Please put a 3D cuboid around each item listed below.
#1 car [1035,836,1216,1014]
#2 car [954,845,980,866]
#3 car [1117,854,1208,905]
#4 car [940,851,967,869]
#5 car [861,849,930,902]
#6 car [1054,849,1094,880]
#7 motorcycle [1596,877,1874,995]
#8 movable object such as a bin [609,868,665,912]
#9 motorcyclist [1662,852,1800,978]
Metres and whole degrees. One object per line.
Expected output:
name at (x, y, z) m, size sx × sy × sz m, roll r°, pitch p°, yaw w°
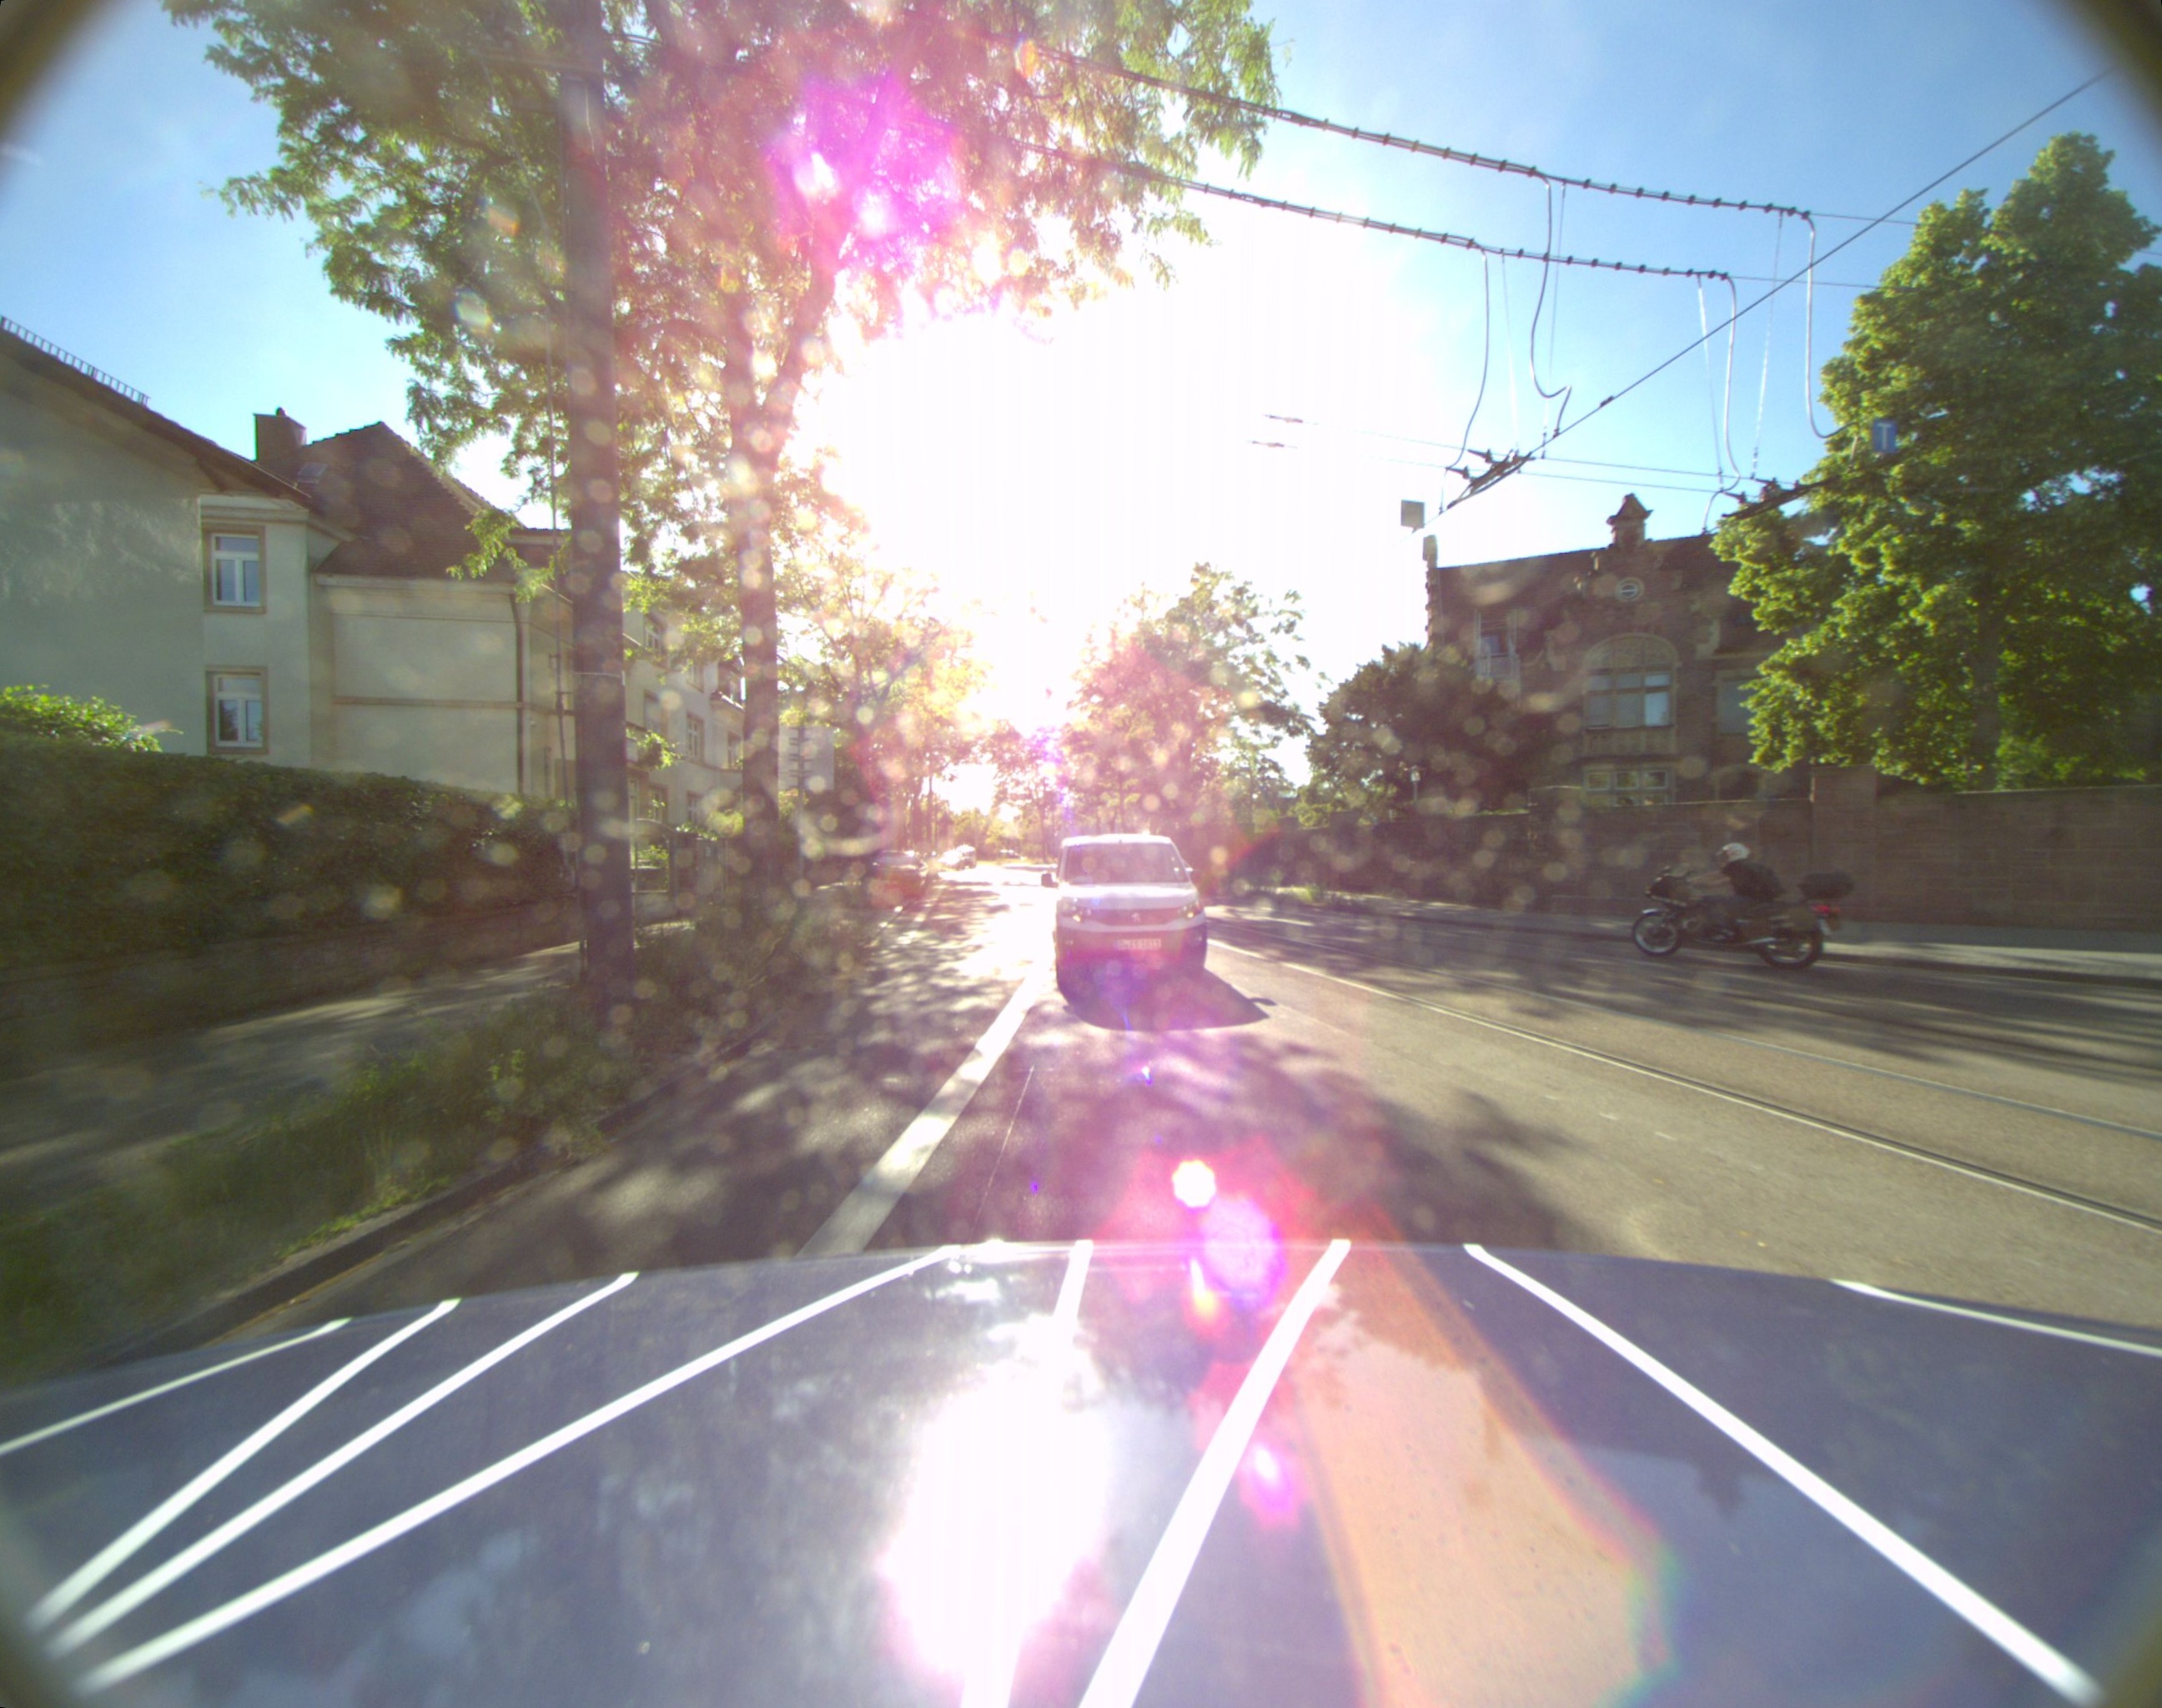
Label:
car at (0.404, 0.703, 10.119) m, size 1.832 × 1.788 × 4.332 m, roll -2°, pitch 1°, yaw -2°
car at (-10.195, 0.097, 68.099) m, size 1.905 × 1.819 × 4.246 m, roll -1°, pitch 1°, yaw -3°
car at (2.679, 0.788, 26.046) m, size 1.889 × 1.407 × 4.619 m, roll -2°, pitch 2°, yaw -9°
car at (-10.292, 0.461, 61.688) m, size 1.720 × 1.332 × 3.915 m, roll -1°, pitch 1°, yaw -4°
car at (-6.706, 0.697, 27.930) m, size 2.000 × 1.733 × 4.167 m, roll -1°, pitch 1°, yaw -8°
car at (-0.436, 0.555, 42.461) m, size 1.801 × 1.628 × 4.116 m, roll 0°, pitch 0°, yaw -6°
motorcycle at (8.532, 0.984, 10.097) m, size 1.135 × 1.236 × 2.567 m, roll -2°, pitch 1°, yaw -29°
movable object such as a bin at (-11.191, 0.893, 19.162) m, size 0.965 × 1.049 × 0.728 m, roll 0°, pitch 1°, yaw 18°
motorcyclist at (8.568, 0.742, 10.034) m, size 1.130 × 1.516 × 1.053 m, roll -2°, pitch 2°, yaw -29°
